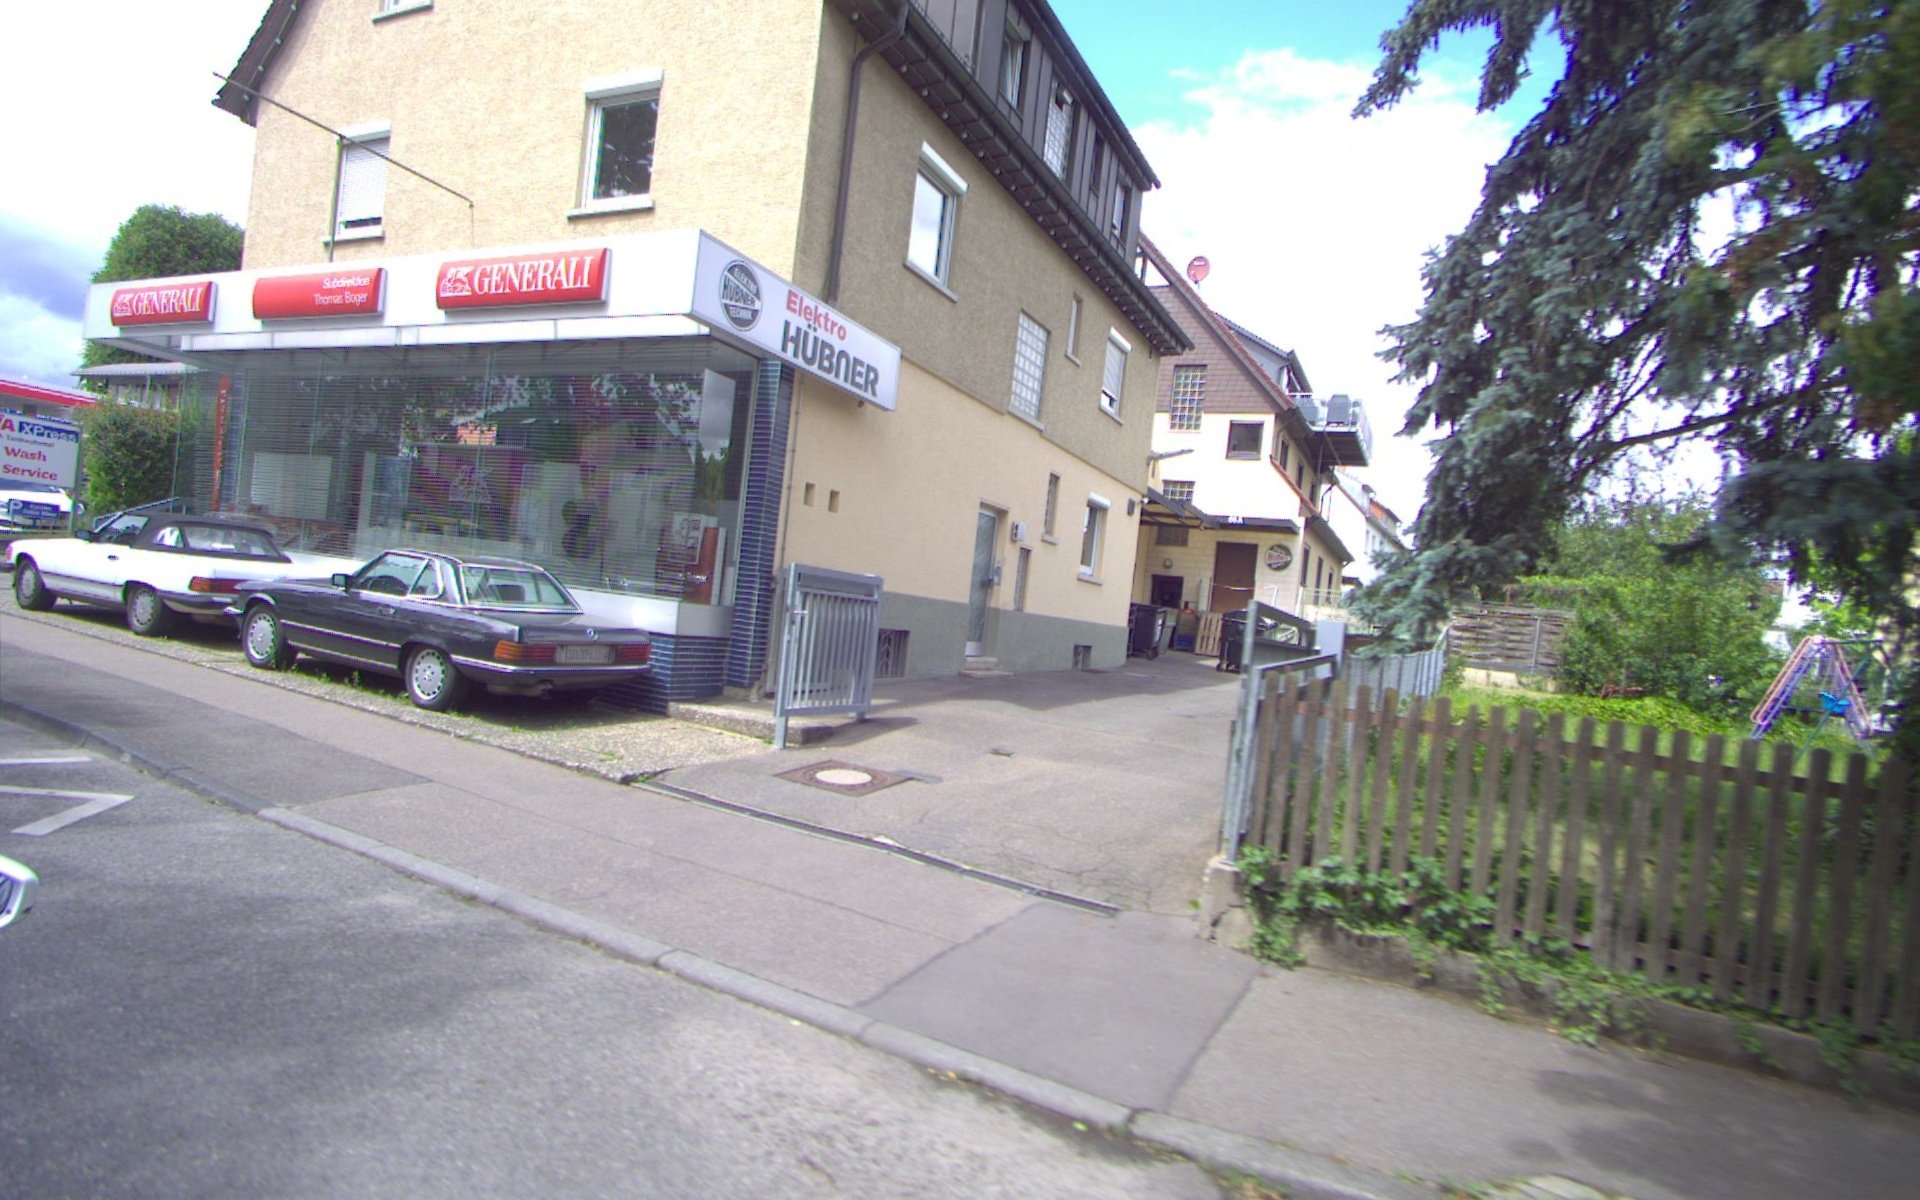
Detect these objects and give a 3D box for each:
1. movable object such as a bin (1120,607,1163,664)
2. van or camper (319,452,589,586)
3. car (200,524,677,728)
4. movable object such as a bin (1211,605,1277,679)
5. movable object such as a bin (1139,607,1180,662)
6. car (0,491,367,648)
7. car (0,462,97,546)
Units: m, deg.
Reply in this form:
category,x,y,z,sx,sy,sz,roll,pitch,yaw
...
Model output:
category,x,y,z,sx,sy,sz,roll,pitch,yaw
movable object such as a bin,4.242,0.827,23.469,0.575,1.213,0.875,6,-1,31
van or camper,-12.929,-1.958,26.272,2.486,2.890,5.965,7,4,24
car,-4.997,0.179,9.565,4.240,1.300,1.788,7,0,26
movable object such as a bin,6.422,0.950,22.719,1.012,1.482,1.149,6,-2,31
movable object such as a bin,4.818,0.835,24.278,0.575,1.213,0.875,6,-1,31
car,-9.352,-0.383,11.865,4.401,1.333,1.789,7,0,24
car,-20.132,-2.100,21.003,4.128,1.550,1.636,6,3,25
